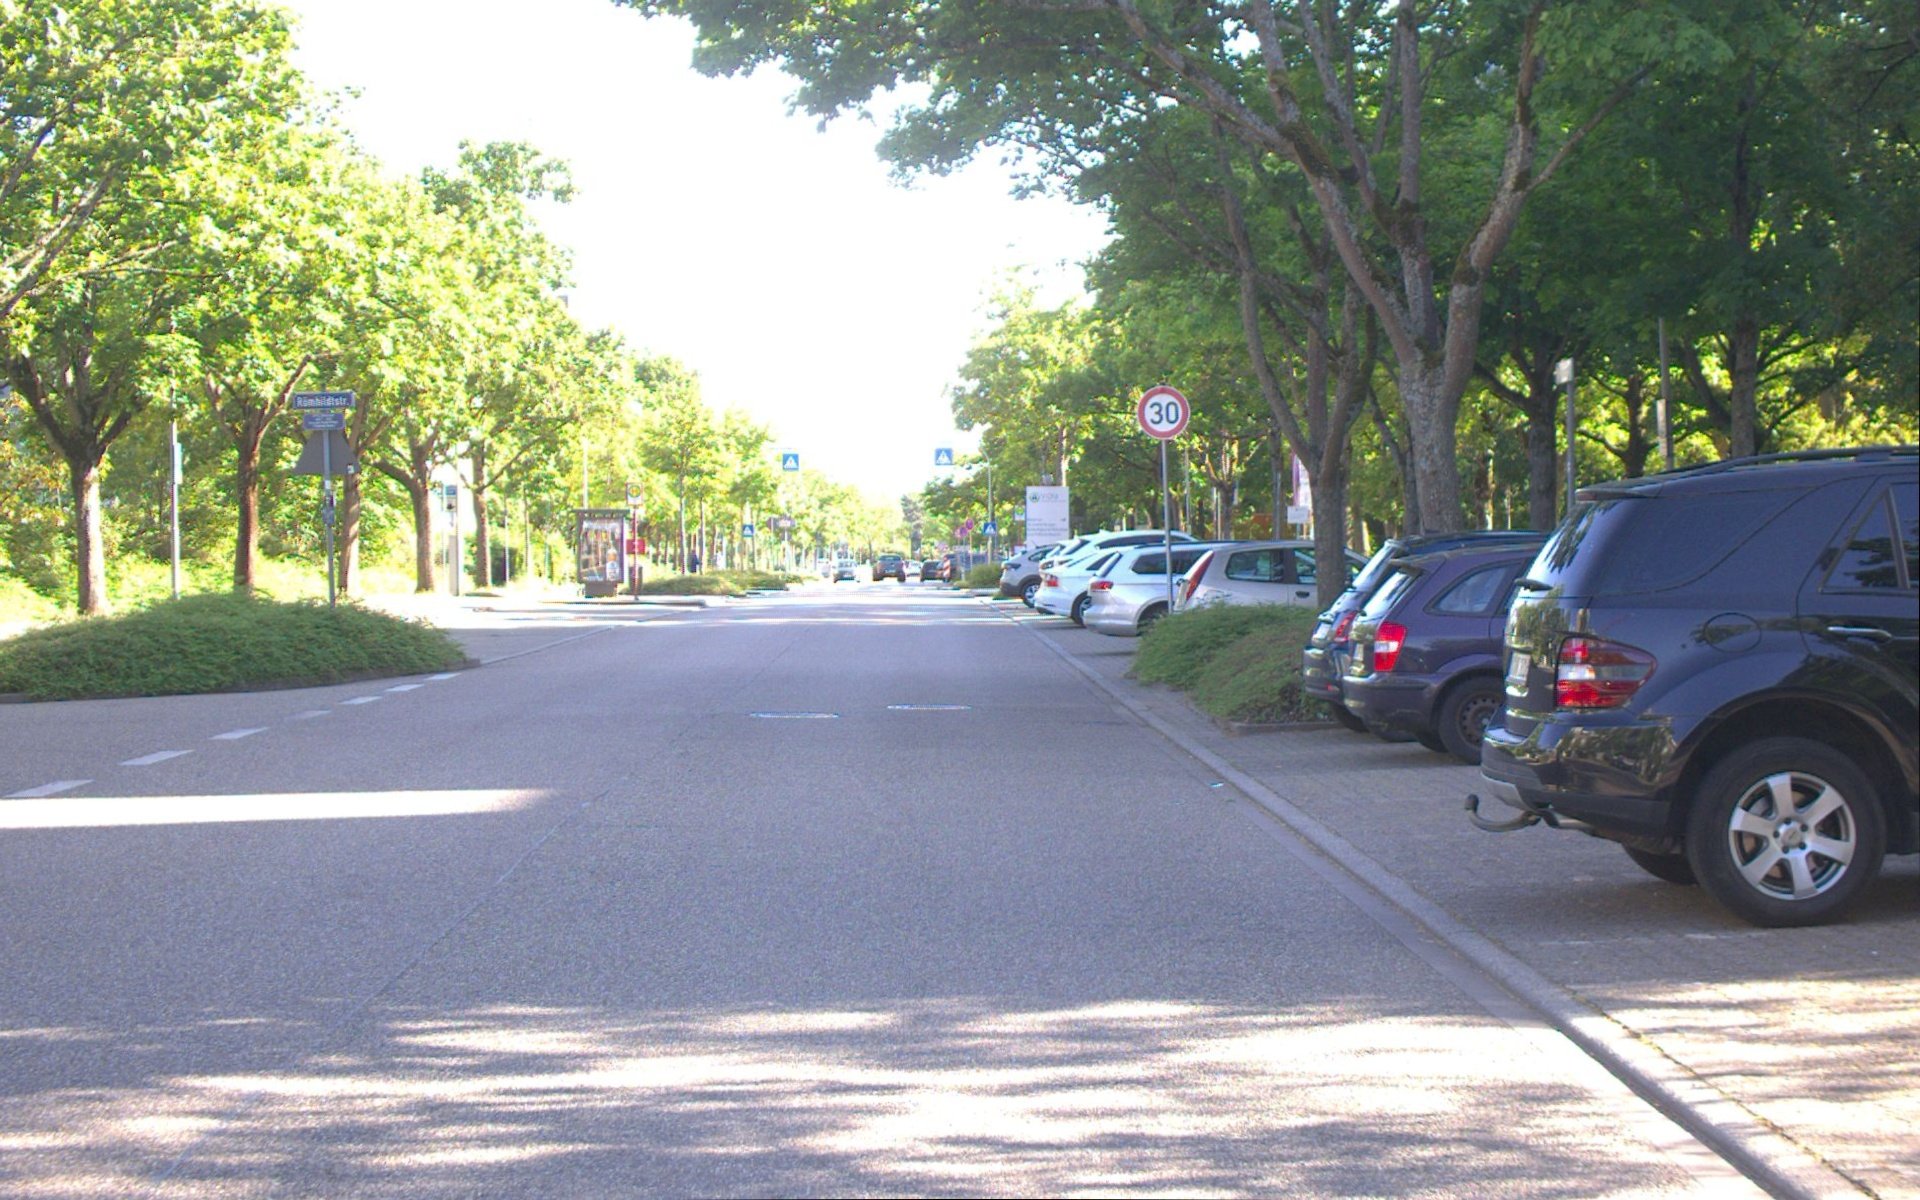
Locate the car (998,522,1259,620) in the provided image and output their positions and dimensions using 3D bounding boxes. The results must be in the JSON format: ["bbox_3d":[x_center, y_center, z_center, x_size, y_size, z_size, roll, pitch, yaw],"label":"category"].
[{"bbox_3d":[2.910,-0.515,59.964,4.342,1.484,1.738,-3,1,-2],"label":"car"}]

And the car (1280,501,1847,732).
[{"bbox_3d":[4.438,0.101,25.619,3.808,1.494,1.702,-3,1,-4],"label":"car"}]

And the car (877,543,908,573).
[{"bbox_3d":[-4.542,-2.843,232.349,1.993,2.007,4.000,0,1,0],"label":"car"}]

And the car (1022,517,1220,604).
[{"bbox_3d":[3.129,-0.786,67.416,3.688,1.517,1.651,-3,1,-2],"label":"car"}]

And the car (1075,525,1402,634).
[{"bbox_3d":[3.709,-0.286,45.976,4.275,1.423,1.827,0,1,4],"label":"car"}]

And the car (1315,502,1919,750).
[{"bbox_3d":[4.487,0.144,22.837,3.987,1.382,1.822,-3,1,0],"label":"car"}]

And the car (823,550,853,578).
[{"bbox_3d":[-7.904,-2.363,222.263,1.828,1.769,3.740,0,1,0],"label":"car"}]

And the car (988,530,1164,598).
[{"bbox_3d":[2.812,-0.893,84.330,4.164,1.423,2.000,-3,1,-1],"label":"car"}]

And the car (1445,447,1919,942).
[{"bbox_3d":[4.390,0.281,13.651,4.587,1.773,2.000,-2,1,0],"label":"car"}]

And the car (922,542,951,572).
[{"bbox_3d":[-1.614,-2.971,237.312,1.993,2.007,4.000,0,1,0],"label":"car"}]

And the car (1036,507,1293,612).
[{"bbox_3d":[3.700,-0.748,62.666,4.435,1.642,1.816,-3,1,-2],"label":"car"}]

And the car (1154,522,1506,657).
[{"bbox_3d":[4.394,-0.143,41.252,3.987,1.446,1.717,-2,1,0],"label":"car"}]
